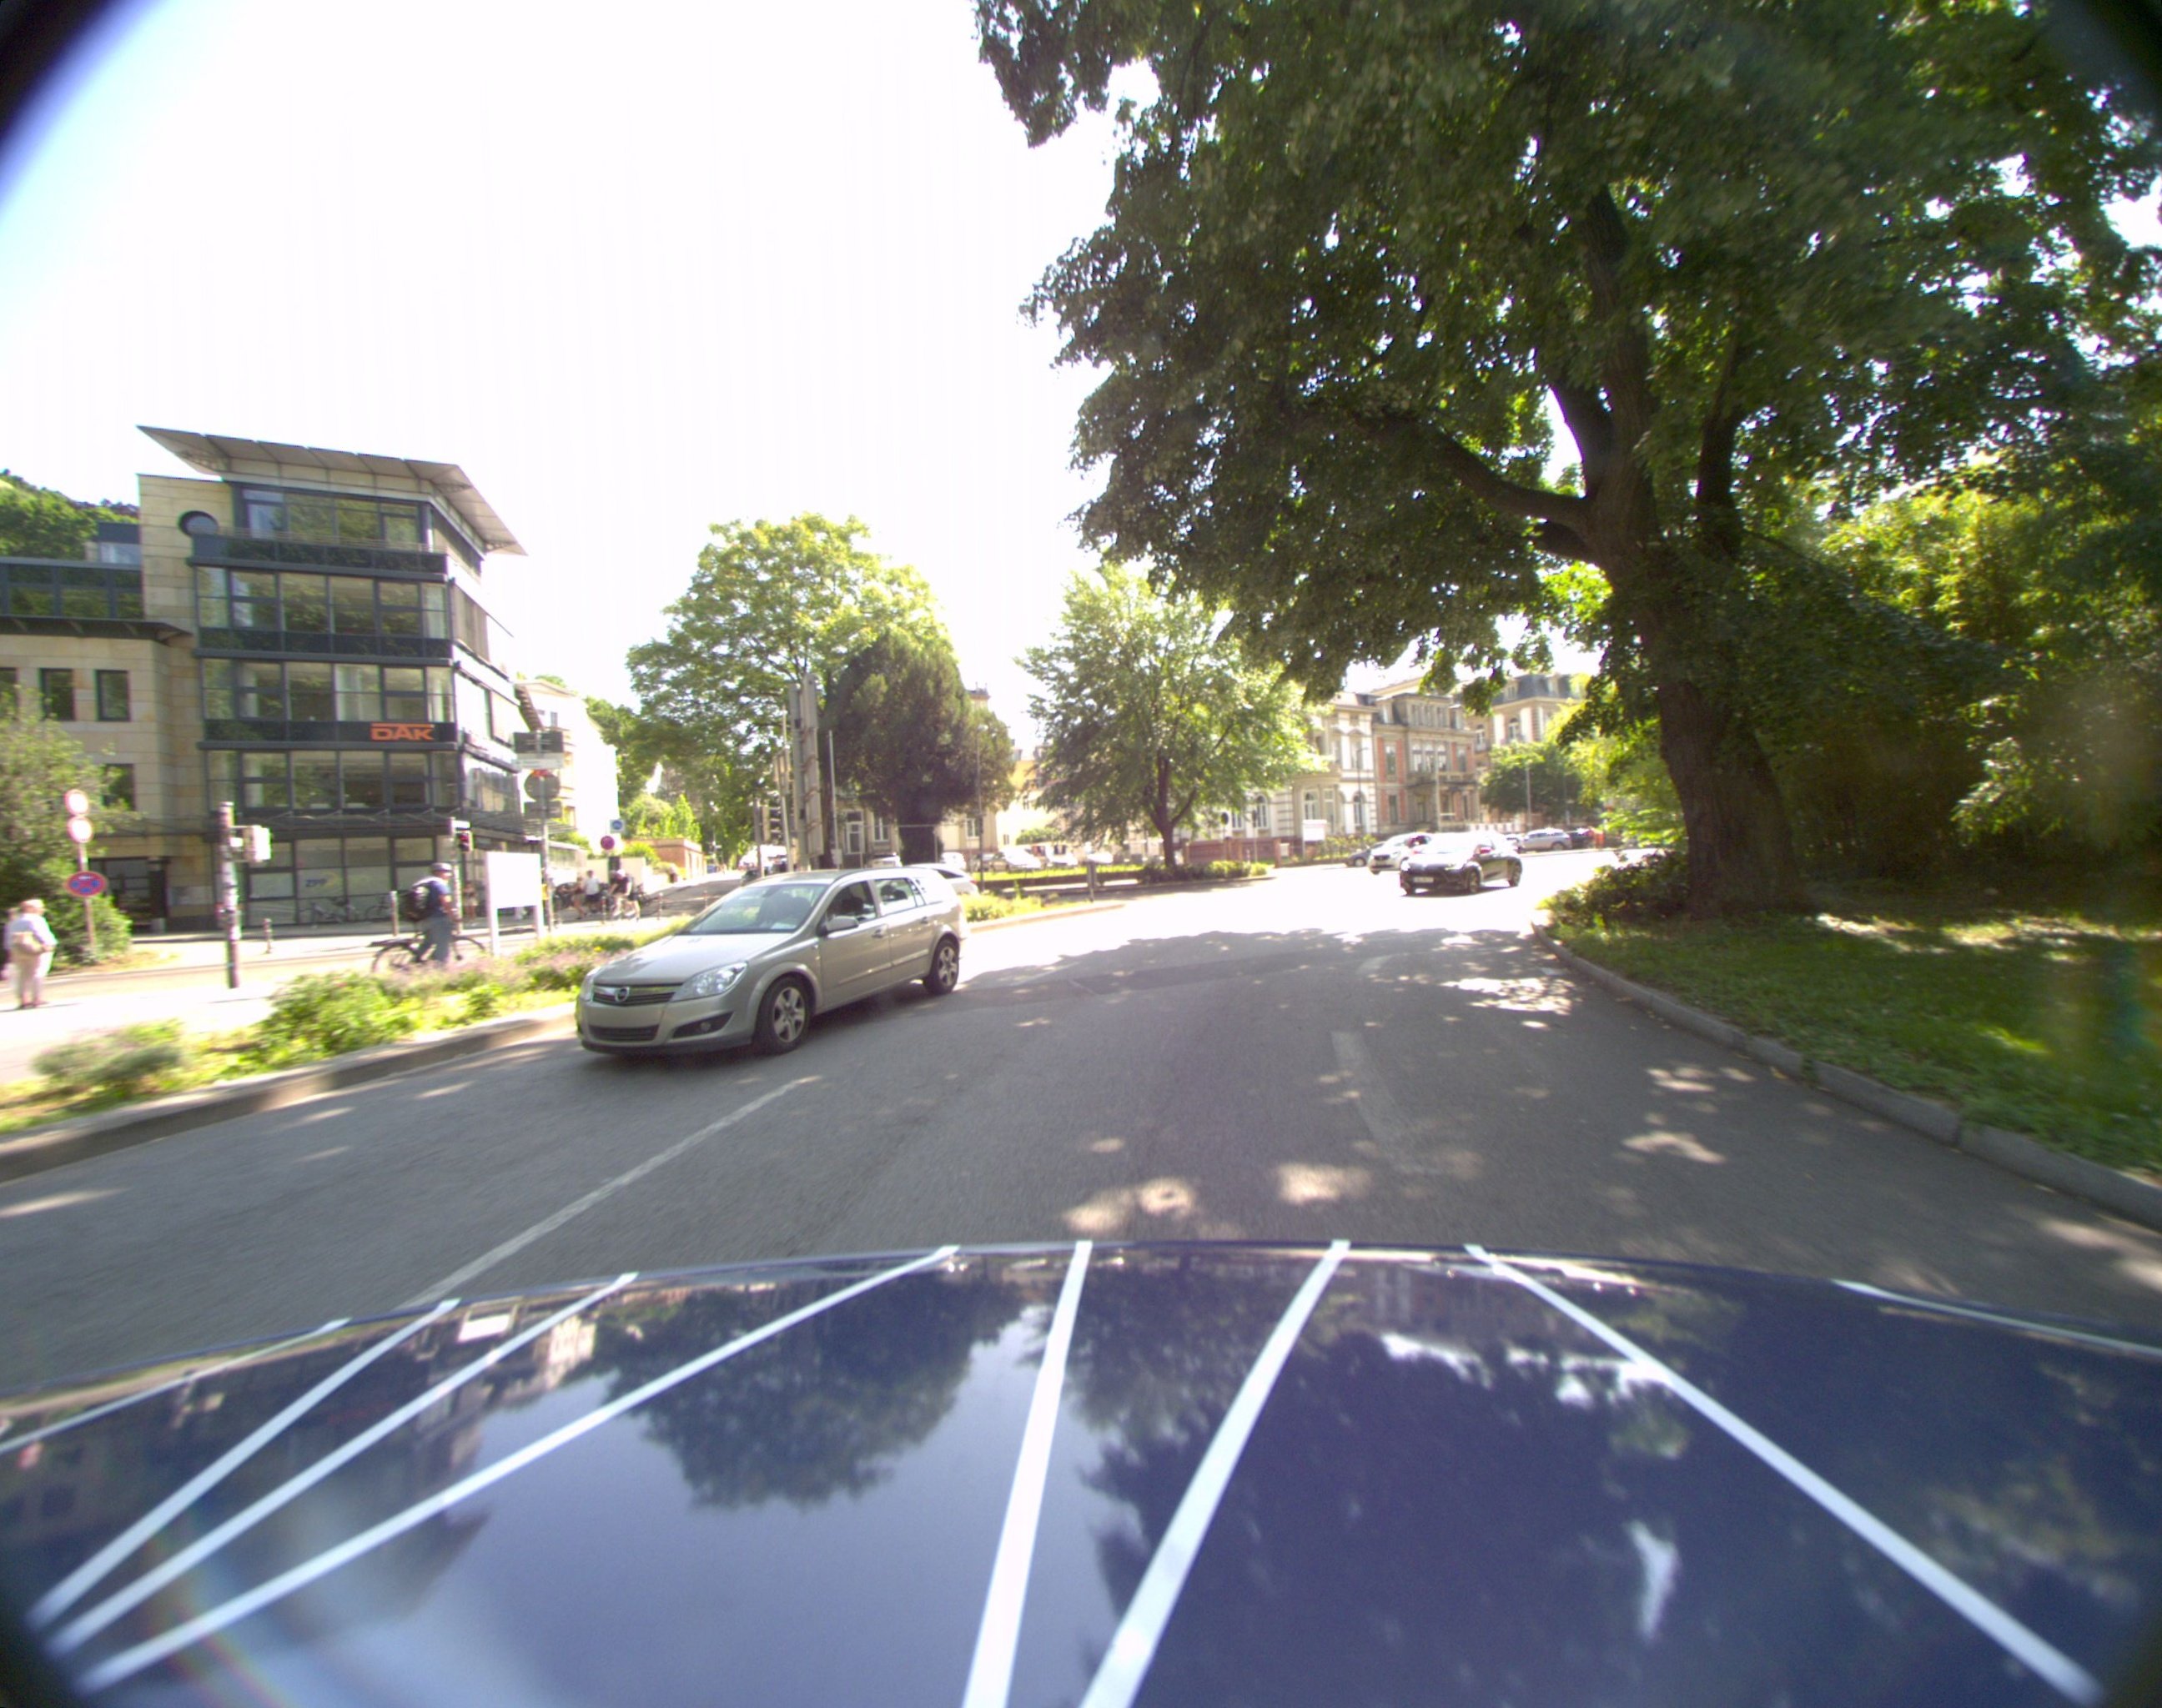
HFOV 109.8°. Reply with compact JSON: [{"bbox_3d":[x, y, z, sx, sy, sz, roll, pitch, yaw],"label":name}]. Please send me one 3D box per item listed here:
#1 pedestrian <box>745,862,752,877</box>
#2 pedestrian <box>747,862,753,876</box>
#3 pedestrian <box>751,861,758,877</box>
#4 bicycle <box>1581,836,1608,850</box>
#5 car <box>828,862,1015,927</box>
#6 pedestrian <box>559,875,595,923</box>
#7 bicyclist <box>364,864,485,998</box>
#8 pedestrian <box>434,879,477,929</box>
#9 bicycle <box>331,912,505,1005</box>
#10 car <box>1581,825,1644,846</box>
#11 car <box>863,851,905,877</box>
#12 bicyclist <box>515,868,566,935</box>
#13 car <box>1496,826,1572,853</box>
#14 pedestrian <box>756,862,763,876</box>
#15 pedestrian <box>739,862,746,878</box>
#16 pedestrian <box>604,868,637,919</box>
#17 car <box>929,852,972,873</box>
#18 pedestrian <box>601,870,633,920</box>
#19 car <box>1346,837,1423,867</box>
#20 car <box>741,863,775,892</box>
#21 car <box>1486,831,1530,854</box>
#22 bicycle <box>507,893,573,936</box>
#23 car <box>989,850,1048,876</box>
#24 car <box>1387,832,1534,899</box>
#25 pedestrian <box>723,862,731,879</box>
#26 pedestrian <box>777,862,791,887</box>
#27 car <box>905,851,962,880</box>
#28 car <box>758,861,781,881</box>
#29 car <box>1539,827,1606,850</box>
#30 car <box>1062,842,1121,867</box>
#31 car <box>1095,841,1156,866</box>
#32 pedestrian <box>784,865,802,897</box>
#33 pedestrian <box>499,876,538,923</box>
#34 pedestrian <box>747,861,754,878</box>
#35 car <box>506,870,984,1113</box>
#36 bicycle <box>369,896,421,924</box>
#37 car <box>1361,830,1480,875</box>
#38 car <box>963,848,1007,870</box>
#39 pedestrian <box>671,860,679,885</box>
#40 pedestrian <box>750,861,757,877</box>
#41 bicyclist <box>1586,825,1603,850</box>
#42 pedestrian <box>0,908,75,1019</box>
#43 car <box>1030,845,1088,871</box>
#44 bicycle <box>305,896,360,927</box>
[{"bbox_3d":[-46.355,2.149,105.919,0.723,2.002,0.860,-3,1,-24],"label":"pedestrian"},{"bbox_3d":[-48.569,2.239,111.510,0.723,2.002,0.860,-3,1,-24],"label":"pedestrian"},{"bbox_3d":[-43.423,2.007,101.013,0.723,2.002,0.860,-3,1,-24],"label":"pedestrian"},{"bbox_3d":[33.678,-0.720,49.857,1.746,0.849,0.592,-3,0,-23],"label":"bicycle"},{"bbox_3d":[-4.485,1.062,21.504,4.757,1.429,1.996,-3,1,-27],"label":"car"},{"bbox_3d":[-18.455,1.633,27.852,0.830,1.653,0.772,-3,0,-18],"label":"pedestrian"},{"bbox_3d":[-10.129,1.140,11.774,0.747,1.921,1.130,-4,0,2],"label":"bicyclist"},{"bbox_3d":[-21.955,1.751,26.702,0.829,1.653,0.773,-3,0,-13],"label":"pedestrian"},{"bbox_3d":[-10.114,1.549,11.732,0.756,1.106,2.083,-3,0,2],"label":"bicycle"},{"bbox_3d":[41.615,-1.416,59.590,3.693,1.410,1.752,-4,0,20],"label":"car"},{"bbox_3d":[-13.100,0.692,50.461,1.823,1.594,4.313,-3,0,-25],"label":"car"},{"bbox_3d":[-16.278,1.402,22.921,0.748,1.921,1.128,-4,0,-11],"label":"bicyclist"},{"bbox_3d":[32.161,-1.000,54.083,4.308,1.620,1.716,-4,0,16],"label":"car"},{"bbox_3d":[-47.600,2.169,112.479,0.723,2.002,0.860,-3,1,-24],"label":"pedestrian"},{"bbox_3d":[-44.914,2.102,100.903,0.723,2.002,1.016,-3,1,-24],"label":"pedestrian"},{"bbox_3d":[-17.351,1.492,28.659,0.830,1.843,0.772,-3,0,-20],"label":"pedestrian"},{"bbox_3d":[-9.198,0.600,53.364,1.823,1.328,4.081,-3,0,-25],"label":"car"},{"bbox_3d":[-17.896,1.559,29.306,0.830,1.843,0.772,-3,0,-20],"label":"pedestrian"},{"bbox_3d":[17.842,-0.104,44.791,4.099,1.452,1.830,-4,0,21],"label":"car"},{"bbox_3d":[-20.108,1.411,47.346,1.835,1.637,4.126,-3,0,-23],"label":"car"},{"bbox_3d":[29.317,-0.782,52.236,2.285,1.474,1.202,-4,0,11],"label":"car"},{"bbox_3d":[-16.246,1.801,22.879,0.757,1.106,2.081,-3,0,-11],"label":"bicycle"},{"bbox_3d":[-3.650,0.546,43.387,1.823,1.328,4.472,-3,0,-25],"label":"car"},{"bbox_3d":[9.870,0.243,19.636,4.288,1.443,1.787,-4,1,-40],"label":"car"},{"bbox_3d":[-42.495,2.036,91.261,0.723,2.002,0.860,-3,1,-24],"label":"pedestrian"},{"bbox_3d":[-19.268,1.330,49.278,0.771,1.537,0.666,-3,1,-22],"label":"pedestrian"},{"bbox_3d":[-8.158,0.646,41.790,1.880,1.467,4.148,-3,0,-28],"label":"car"},{"bbox_3d":[-27.951,1.494,68.182,1.835,1.637,4.126,-3,0,-23],"label":"car"},{"bbox_3d":[36.071,-1.092,55.807,3.813,1.408,1.608,-4,0,20],"label":"car"},{"bbox_3d":[0.586,0.066,45.520,1.863,1.328,4.046,-3,0,-25],"label":"car"},{"bbox_3d":[2.674,-0.013,46.446,1.994,1.328,4.046,-3,0,-25],"label":"car"},{"bbox_3d":[-14.716,1.375,38.770,0.742,1.571,1.121,-4,1,-21],"label":"pedestrian"},{"bbox_3d":[-20.777,1.650,28.060,0.829,1.653,0.773,-3,0,-13],"label":"pedestrian"},{"bbox_3d":[-40.162,1.877,92.387,0.723,2.002,0.860,-3,1,-24],"label":"pedestrian"},{"bbox_3d":[-2.770,1.018,7.596,1.717,1.491,4.496,-2,1,19],"label":"car"},{"bbox_3d":[-25.886,2.118,28.686,1.342,0.936,0.405,-3,1,-23],"label":"bicycle"},{"bbox_3d":[13.517,-0.086,30.256,4.284,1.504,1.789,-3,1,-22],"label":"car"},{"bbox_3d":[-6.895,0.404,54.203,1.823,1.411,4.055,-3,0,-25],"label":"car"},{"bbox_3d":[-32.873,1.521,61.540,0.494,2.002,0.578,-3,1,-28],"label":"pedestrian"},{"bbox_3d":[-41.787,1.939,96.977,0.723,2.002,0.860,-3,1,-24],"label":"pedestrian"},{"bbox_3d":[33.694,-1.087,49.869,0.685,1.597,0.592,-3,0,-23],"label":"bicyclist"},{"bbox_3d":[-16.201,1.666,11.670,0.634,1.611,0.548,-3,1,-14],"label":"pedestrian"},{"bbox_3d":[-1.343,0.260,44.499,1.823,1.328,4.090,-3,0,-25],"label":"car"},{"bbox_3d":[-27.637,2.117,28.069,1.342,1.007,0.405,-3,1,-23],"label":"bicycle"}]
